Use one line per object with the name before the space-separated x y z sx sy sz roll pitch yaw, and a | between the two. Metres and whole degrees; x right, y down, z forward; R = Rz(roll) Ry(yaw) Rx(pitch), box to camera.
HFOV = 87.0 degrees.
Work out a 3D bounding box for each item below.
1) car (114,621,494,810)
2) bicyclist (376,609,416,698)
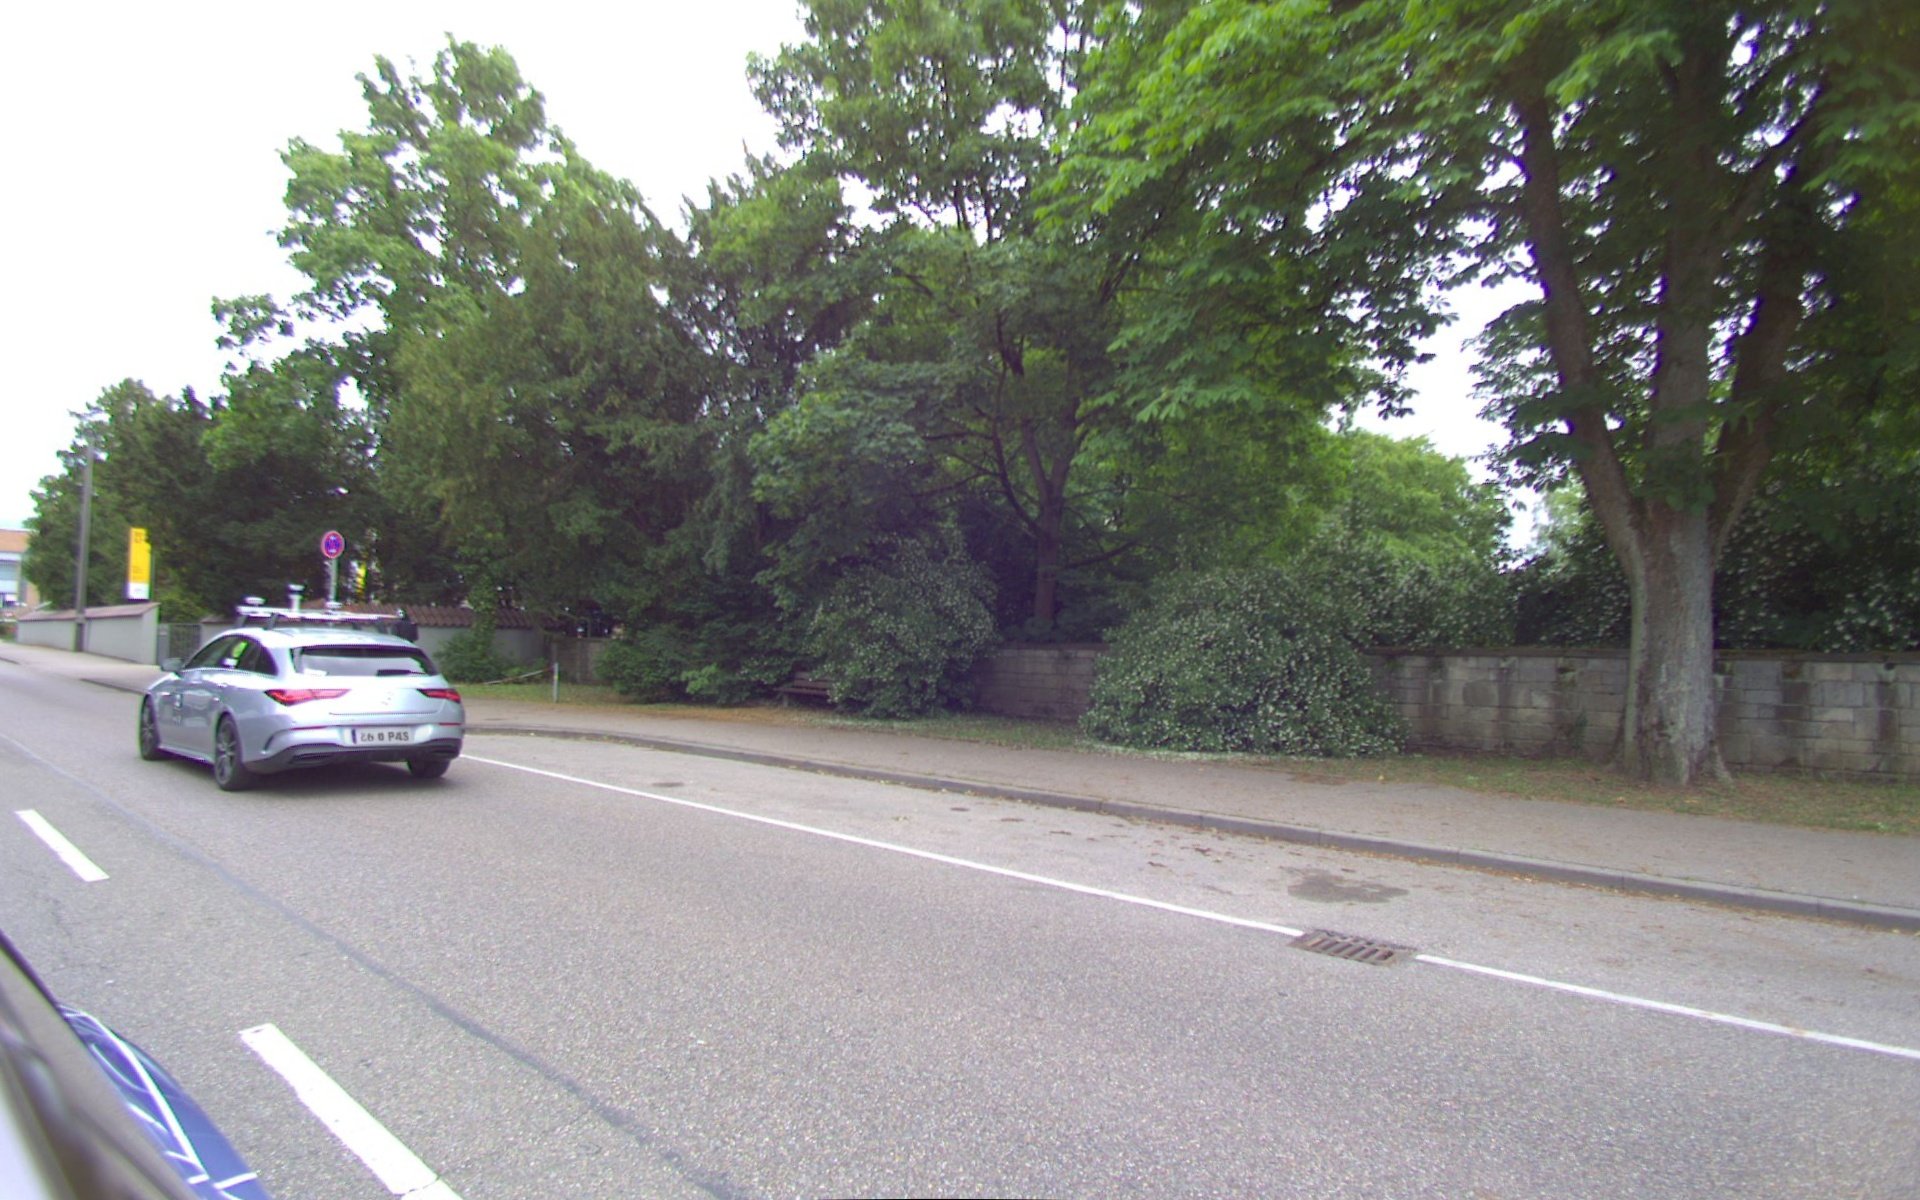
car | -6.489 0.972 9.816 4.409 1.413 1.739 0 -5 39
bicyclist | -10.976 1.020 19.705 0.588 1.697 0.482 -1 0 41
